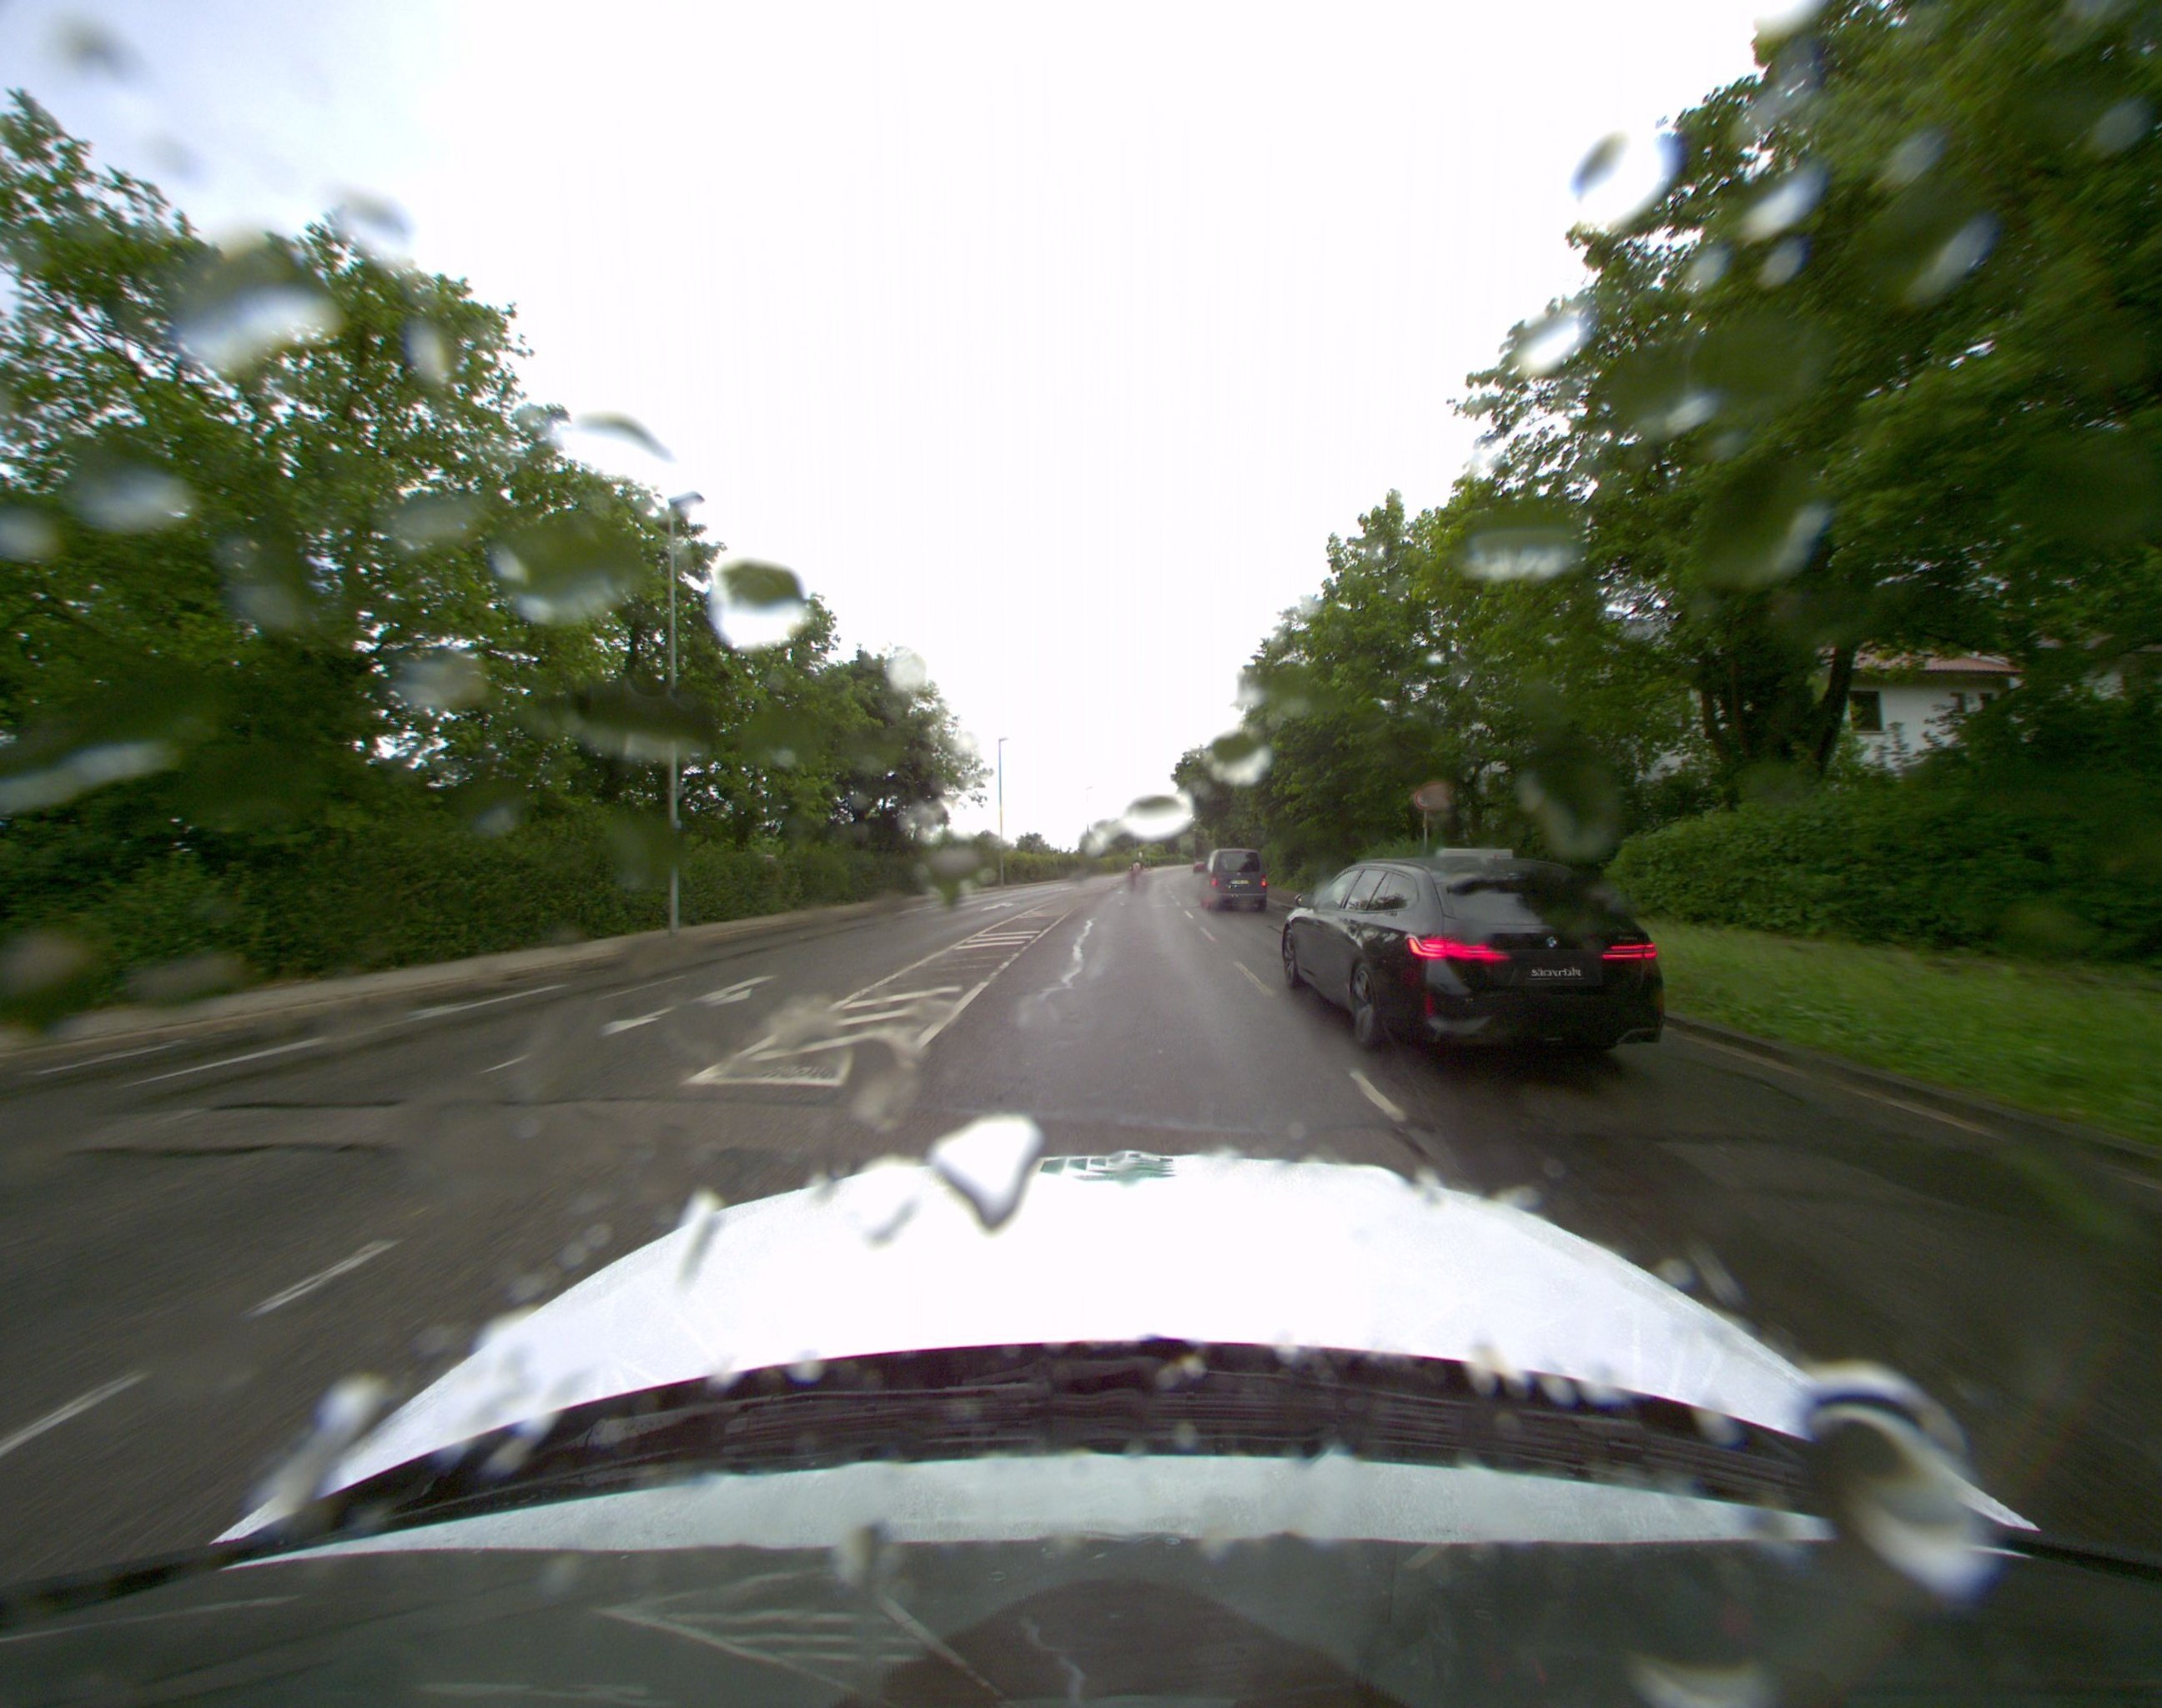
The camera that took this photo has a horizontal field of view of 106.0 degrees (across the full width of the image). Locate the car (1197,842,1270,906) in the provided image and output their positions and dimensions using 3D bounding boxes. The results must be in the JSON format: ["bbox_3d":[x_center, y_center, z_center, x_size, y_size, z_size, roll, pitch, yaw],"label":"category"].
[{"bbox_3d":[4.676,0.549,25.368,1.759,1.810,3.909,-1,1,4],"label":"car"}]

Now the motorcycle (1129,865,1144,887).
[{"bbox_3d":[3.072,1.212,44.976,0.737,1.119,1.429,-1,1,6],"label":"motorcycle"}]

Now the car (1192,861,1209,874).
[{"bbox_3d":[15.238,1.698,104.028,2.002,1.415,4.499,-1,1,10],"label":"car"}]

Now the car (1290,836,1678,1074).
[{"bbox_3d":[3.086,0.659,7.140,1.757,1.536,3.676,-1,0,4],"label":"car"}]

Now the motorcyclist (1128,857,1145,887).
[{"bbox_3d":[3.074,0.999,44.974,0.841,1.647,0.468,-1,0,6],"label":"motorcyclist"}]
